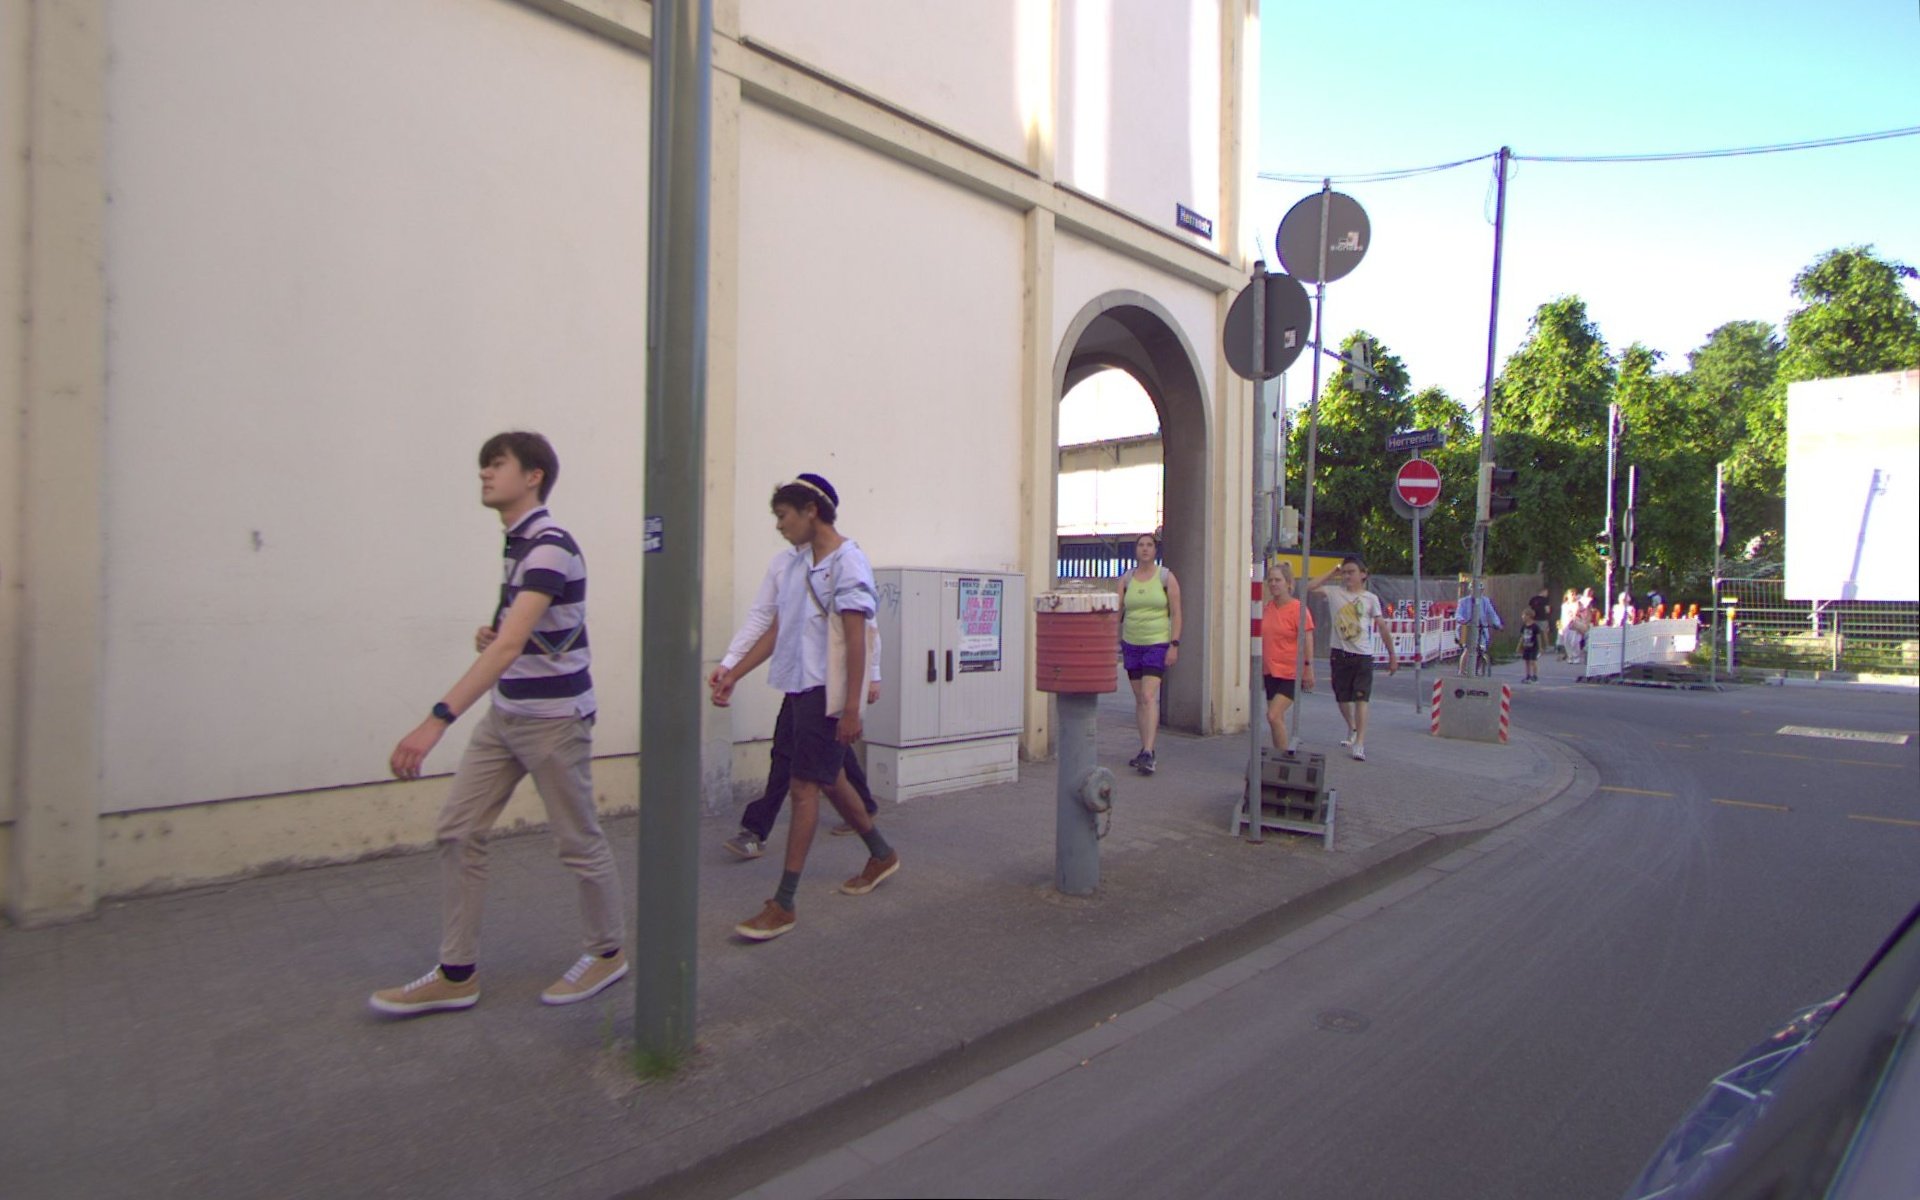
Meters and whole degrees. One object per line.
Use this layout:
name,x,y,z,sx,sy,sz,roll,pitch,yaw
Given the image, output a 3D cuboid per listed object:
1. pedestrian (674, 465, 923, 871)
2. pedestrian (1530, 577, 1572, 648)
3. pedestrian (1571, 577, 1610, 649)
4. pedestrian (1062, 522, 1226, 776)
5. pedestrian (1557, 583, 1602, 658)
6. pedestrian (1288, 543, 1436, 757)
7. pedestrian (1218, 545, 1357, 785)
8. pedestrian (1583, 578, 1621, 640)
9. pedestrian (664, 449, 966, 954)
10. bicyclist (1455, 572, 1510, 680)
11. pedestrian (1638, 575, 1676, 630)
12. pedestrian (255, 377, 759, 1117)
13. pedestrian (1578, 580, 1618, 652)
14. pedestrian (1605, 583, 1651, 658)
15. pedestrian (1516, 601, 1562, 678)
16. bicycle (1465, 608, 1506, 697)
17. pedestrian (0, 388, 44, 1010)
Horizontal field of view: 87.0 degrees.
pedestrian,-0.800,0.283,5.047,0.926,1.799,0.710,1,3,-44
pedestrian,15.402,0.308,26.356,0.726,1.793,0.722,-1,2,-40
pedestrian,16.106,0.318,25.840,0.726,1.793,0.621,-1,2,-41
pedestrian,1.367,0.327,7.501,0.952,1.730,0.674,2,3,-44
pedestrian,13.857,0.448,22.647,0.726,1.624,0.643,-1,2,-41
pedestrian,3.576,0.408,8.998,0.961,1.749,0.797,1,3,-44
pedestrian,2.416,0.445,7.463,0.715,1.644,0.619,2,3,-44
pedestrian,17.546,0.229,27.649,0.757,1.639,0.665,-1,2,-41
pedestrian,-0.593,0.343,4.164,0.926,1.799,0.710,1,3,-44
bicyclist,7.686,0.361,14.874,0.680,1.535,0.697,1,0,30
pedestrian,19.197,0.066,27.862,0.757,1.480,0.665,-1,2,-41
pedestrian,-1.382,0.347,3.163,1.226,1.823,0.715,0,3,-44
pedestrian,15.760,0.374,24.986,0.726,1.737,0.621,-1,2,-41
pedestrian,14.658,0.438,22.205,0.732,1.585,0.665,-1,2,-42
pedestrian,10.307,0.703,18.018,0.609,1.316,0.493,4,-1,-41
bicycle,7.840,0.737,15.062,0.473,1.216,1.978,1,0,29
pedestrian,-3.255,0.275,3.001,0.763,1.823,0.710,1,3,-44
